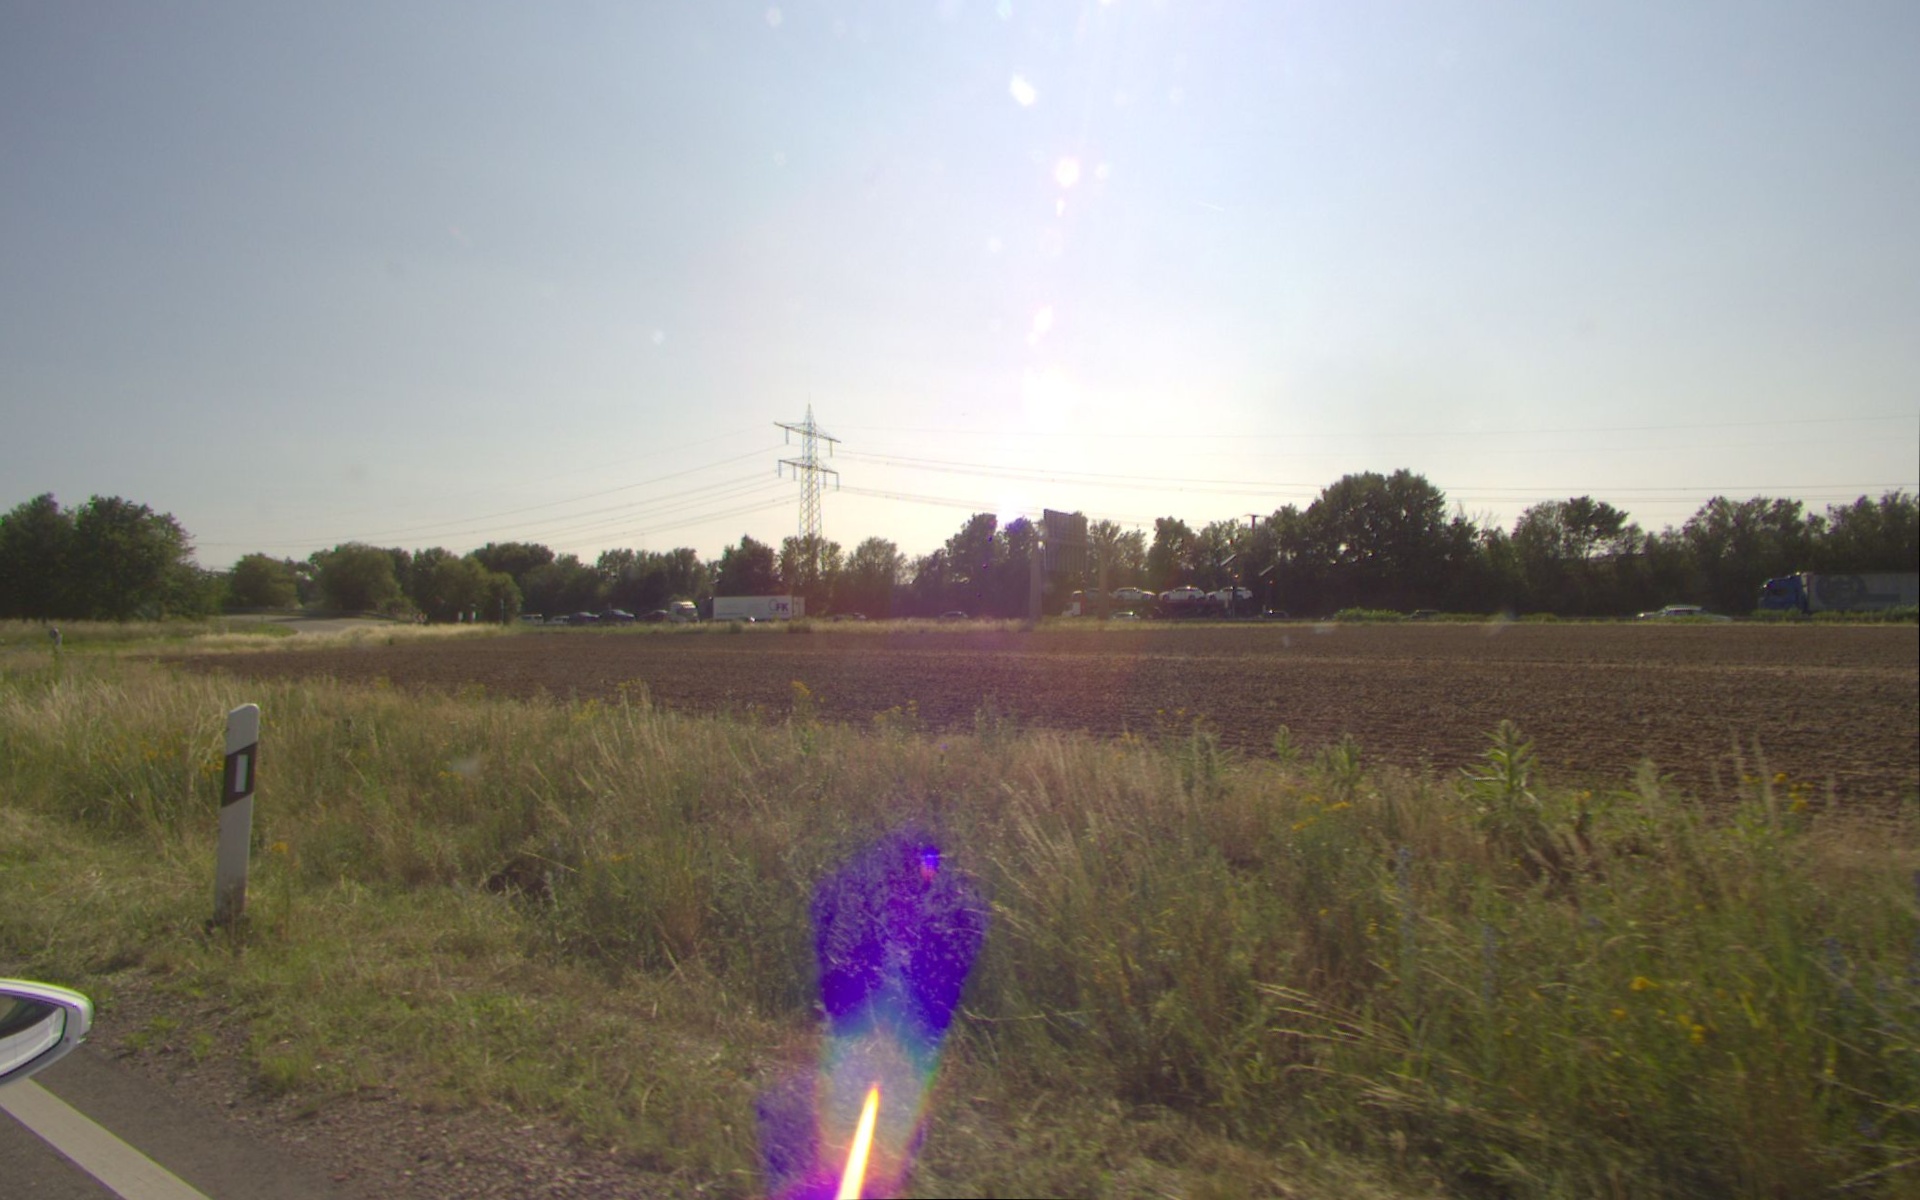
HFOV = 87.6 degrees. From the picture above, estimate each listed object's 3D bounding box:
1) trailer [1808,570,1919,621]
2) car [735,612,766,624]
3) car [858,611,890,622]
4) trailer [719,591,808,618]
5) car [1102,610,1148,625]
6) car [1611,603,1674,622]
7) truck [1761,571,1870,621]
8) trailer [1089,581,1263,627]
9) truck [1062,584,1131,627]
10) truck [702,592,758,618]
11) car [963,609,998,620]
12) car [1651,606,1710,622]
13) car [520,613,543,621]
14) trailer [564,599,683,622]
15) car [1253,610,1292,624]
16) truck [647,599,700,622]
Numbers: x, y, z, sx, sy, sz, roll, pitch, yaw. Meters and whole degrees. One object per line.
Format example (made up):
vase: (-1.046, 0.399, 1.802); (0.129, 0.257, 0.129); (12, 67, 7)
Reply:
trailer: (71.945, -0.312, 74.283); (13.434, 3.782, 3.066); (-1, -1, 32)
car: (-26.074, 2.212, 124.419); (3.571, 1.390, 1.769); (-1, -2, 31)
car: (-9.798, 1.885, 113.945); (3.526, 1.166, 1.394); (0, -1, 29)
trailer: (-25.842, 0.603, 131.221); (12.268, 3.310, 3.280); (-1, 0, 30)
car: (16.285, 1.737, 98.833); (4.184, 1.403, 1.848); (0, -1, 30)
car: (48.141, 0.884, 70.739); (3.565, 1.250, 1.545); (0, -3, 30)
truck: (66.344, -0.236, 77.806); (5.999, 3.782, 3.066); (-1, -1, 32)
trailer: (22.009, 0.483, 103.117); (17.296, 4.512, 3.417); (-1, 0, 29)
truck: (14.622, 0.608, 107.190); (6.604, 4.512, 3.417); (-1, 0, 29)
truck: (-30.842, 0.686, 134.036); (6.874, 3.310, 3.280); (-1, 0, 30)
car: (2.166, 1.567, 107.033); (3.526, 1.166, 1.394); (0, -1, 29)
car: (54.789, 1.066, 76.193); (3.529, 1.166, 1.393); (0, -1, 31)
car: (-61.000, 2.392, 142.580); (3.134, 1.166, 1.393); (0, -1, 30)
trailer: (-39.147, 1.224, 116.056); (16.826, 2.565, 2.509); (-1, 0, 30)
car: (28.455, 1.548, 91.210); (3.134, 1.166, 1.393); (0, -1, 30)
truck: (-32.058, 1.163, 112.043); (5.451, 2.565, 2.509); (0, 0, 29)
